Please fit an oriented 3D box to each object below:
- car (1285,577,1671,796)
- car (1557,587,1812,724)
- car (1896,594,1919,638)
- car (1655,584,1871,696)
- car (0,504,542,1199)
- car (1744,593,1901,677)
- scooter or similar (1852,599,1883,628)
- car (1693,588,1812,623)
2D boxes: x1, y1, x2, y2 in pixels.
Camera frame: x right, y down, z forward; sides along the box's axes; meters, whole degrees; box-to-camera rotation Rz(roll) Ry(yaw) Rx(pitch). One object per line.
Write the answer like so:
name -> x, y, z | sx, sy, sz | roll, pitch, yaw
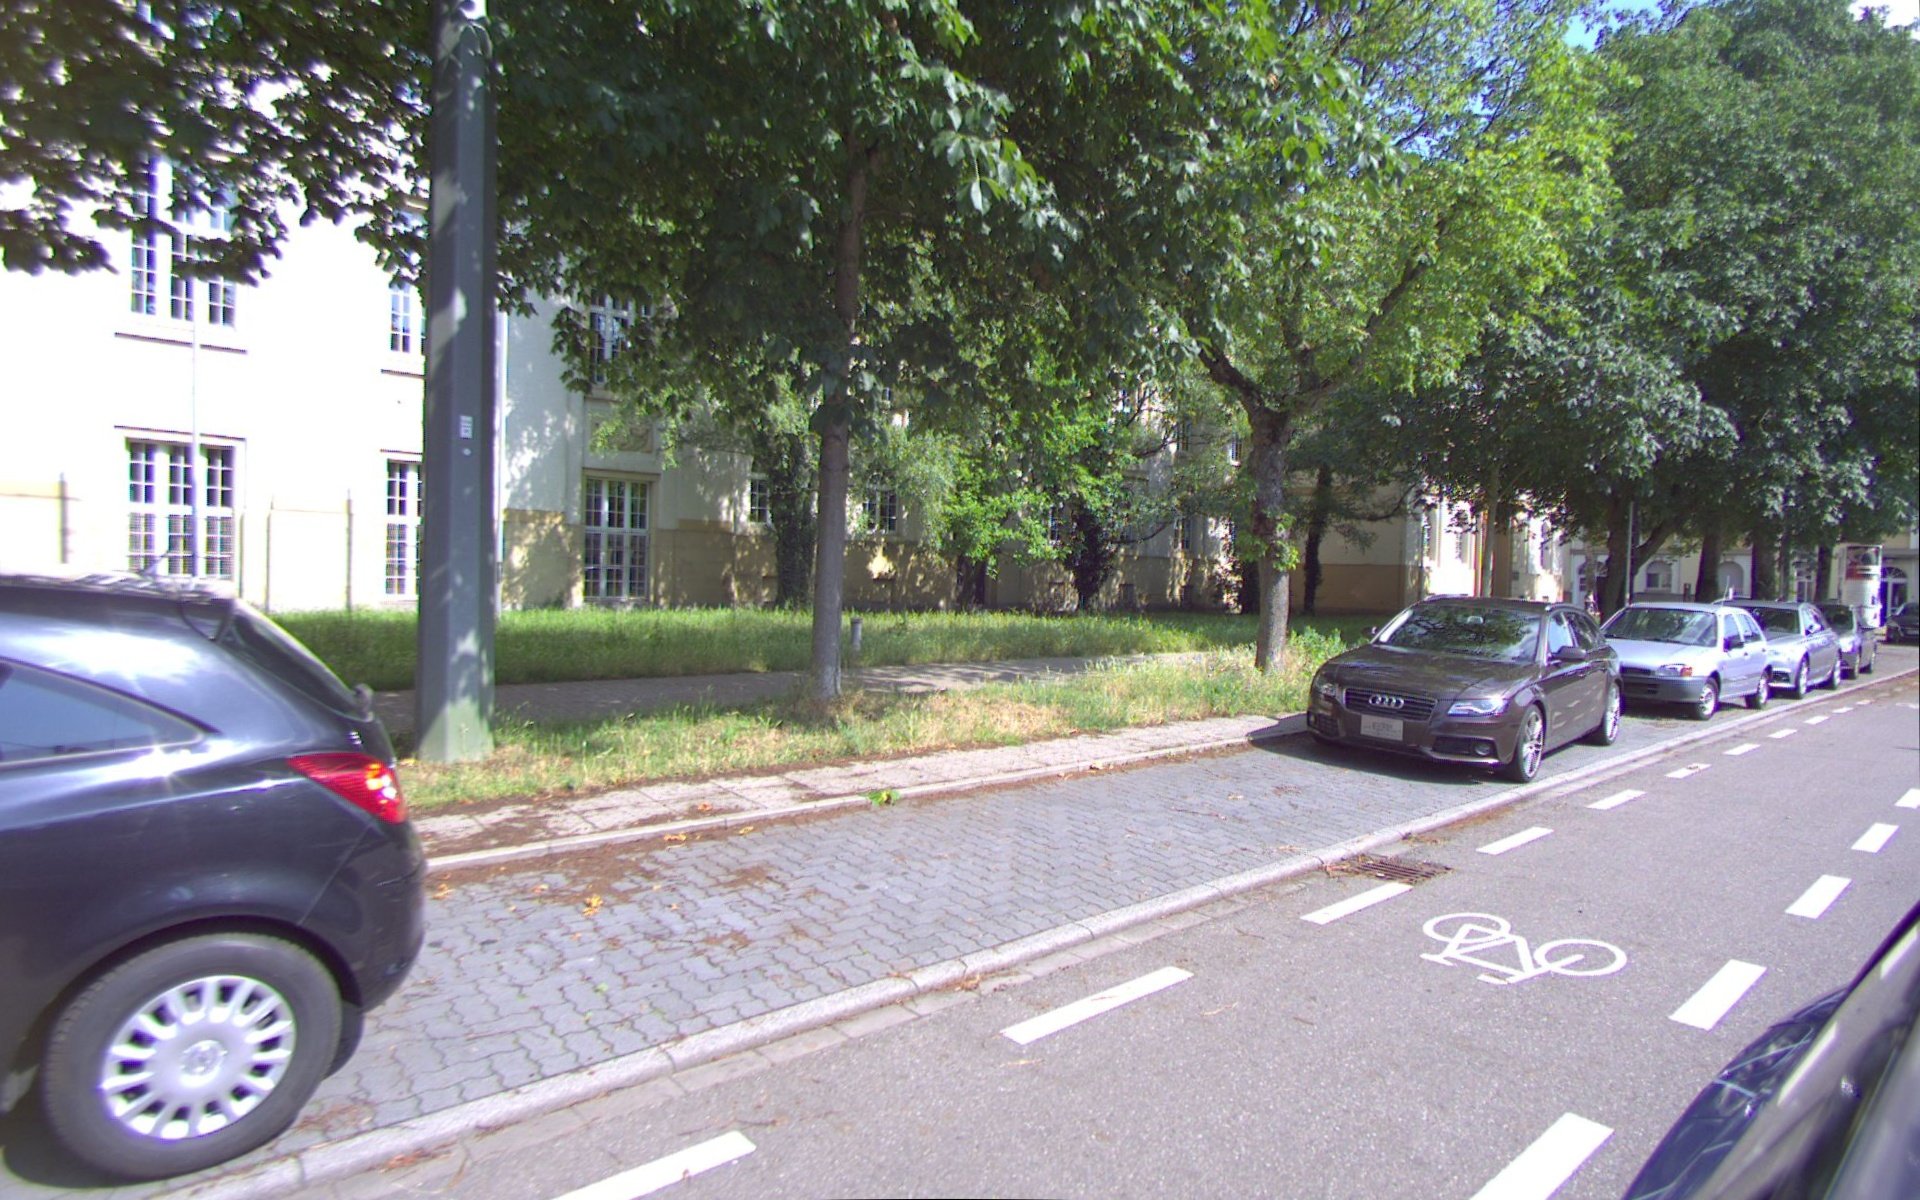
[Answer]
car -> 5.168, 0.588, 9.736 | 4.752, 1.484, 1.833 | -1, 5, -44
car -> 9.686, 0.654, 13.432 | 3.941, 1.448, 1.641 | 1, 4, -38
car -> 33.520, 0.545, 34.632 | 3.855, 1.404, 1.689 | -1, 4, -41
car -> 13.481, 0.583, 16.873 | 4.960, 1.458, 1.834 | 1, 5, -41
car -> -3.378, 0.545, 2.196 | 4.232, 1.580, 1.695 | 0, 5, -41
car -> 18.115, 0.655, 21.177 | 4.577, 1.417, 1.833 | 0, 5, -42
scooter or similar -> 38.513, 0.567, 42.936 | 1.103, 1.193, 0.415 | 1, -1, -12
car -> 43.614, 0.270, 55.826 | 1.820, 1.676, 4.842 | -1, 2, -30
